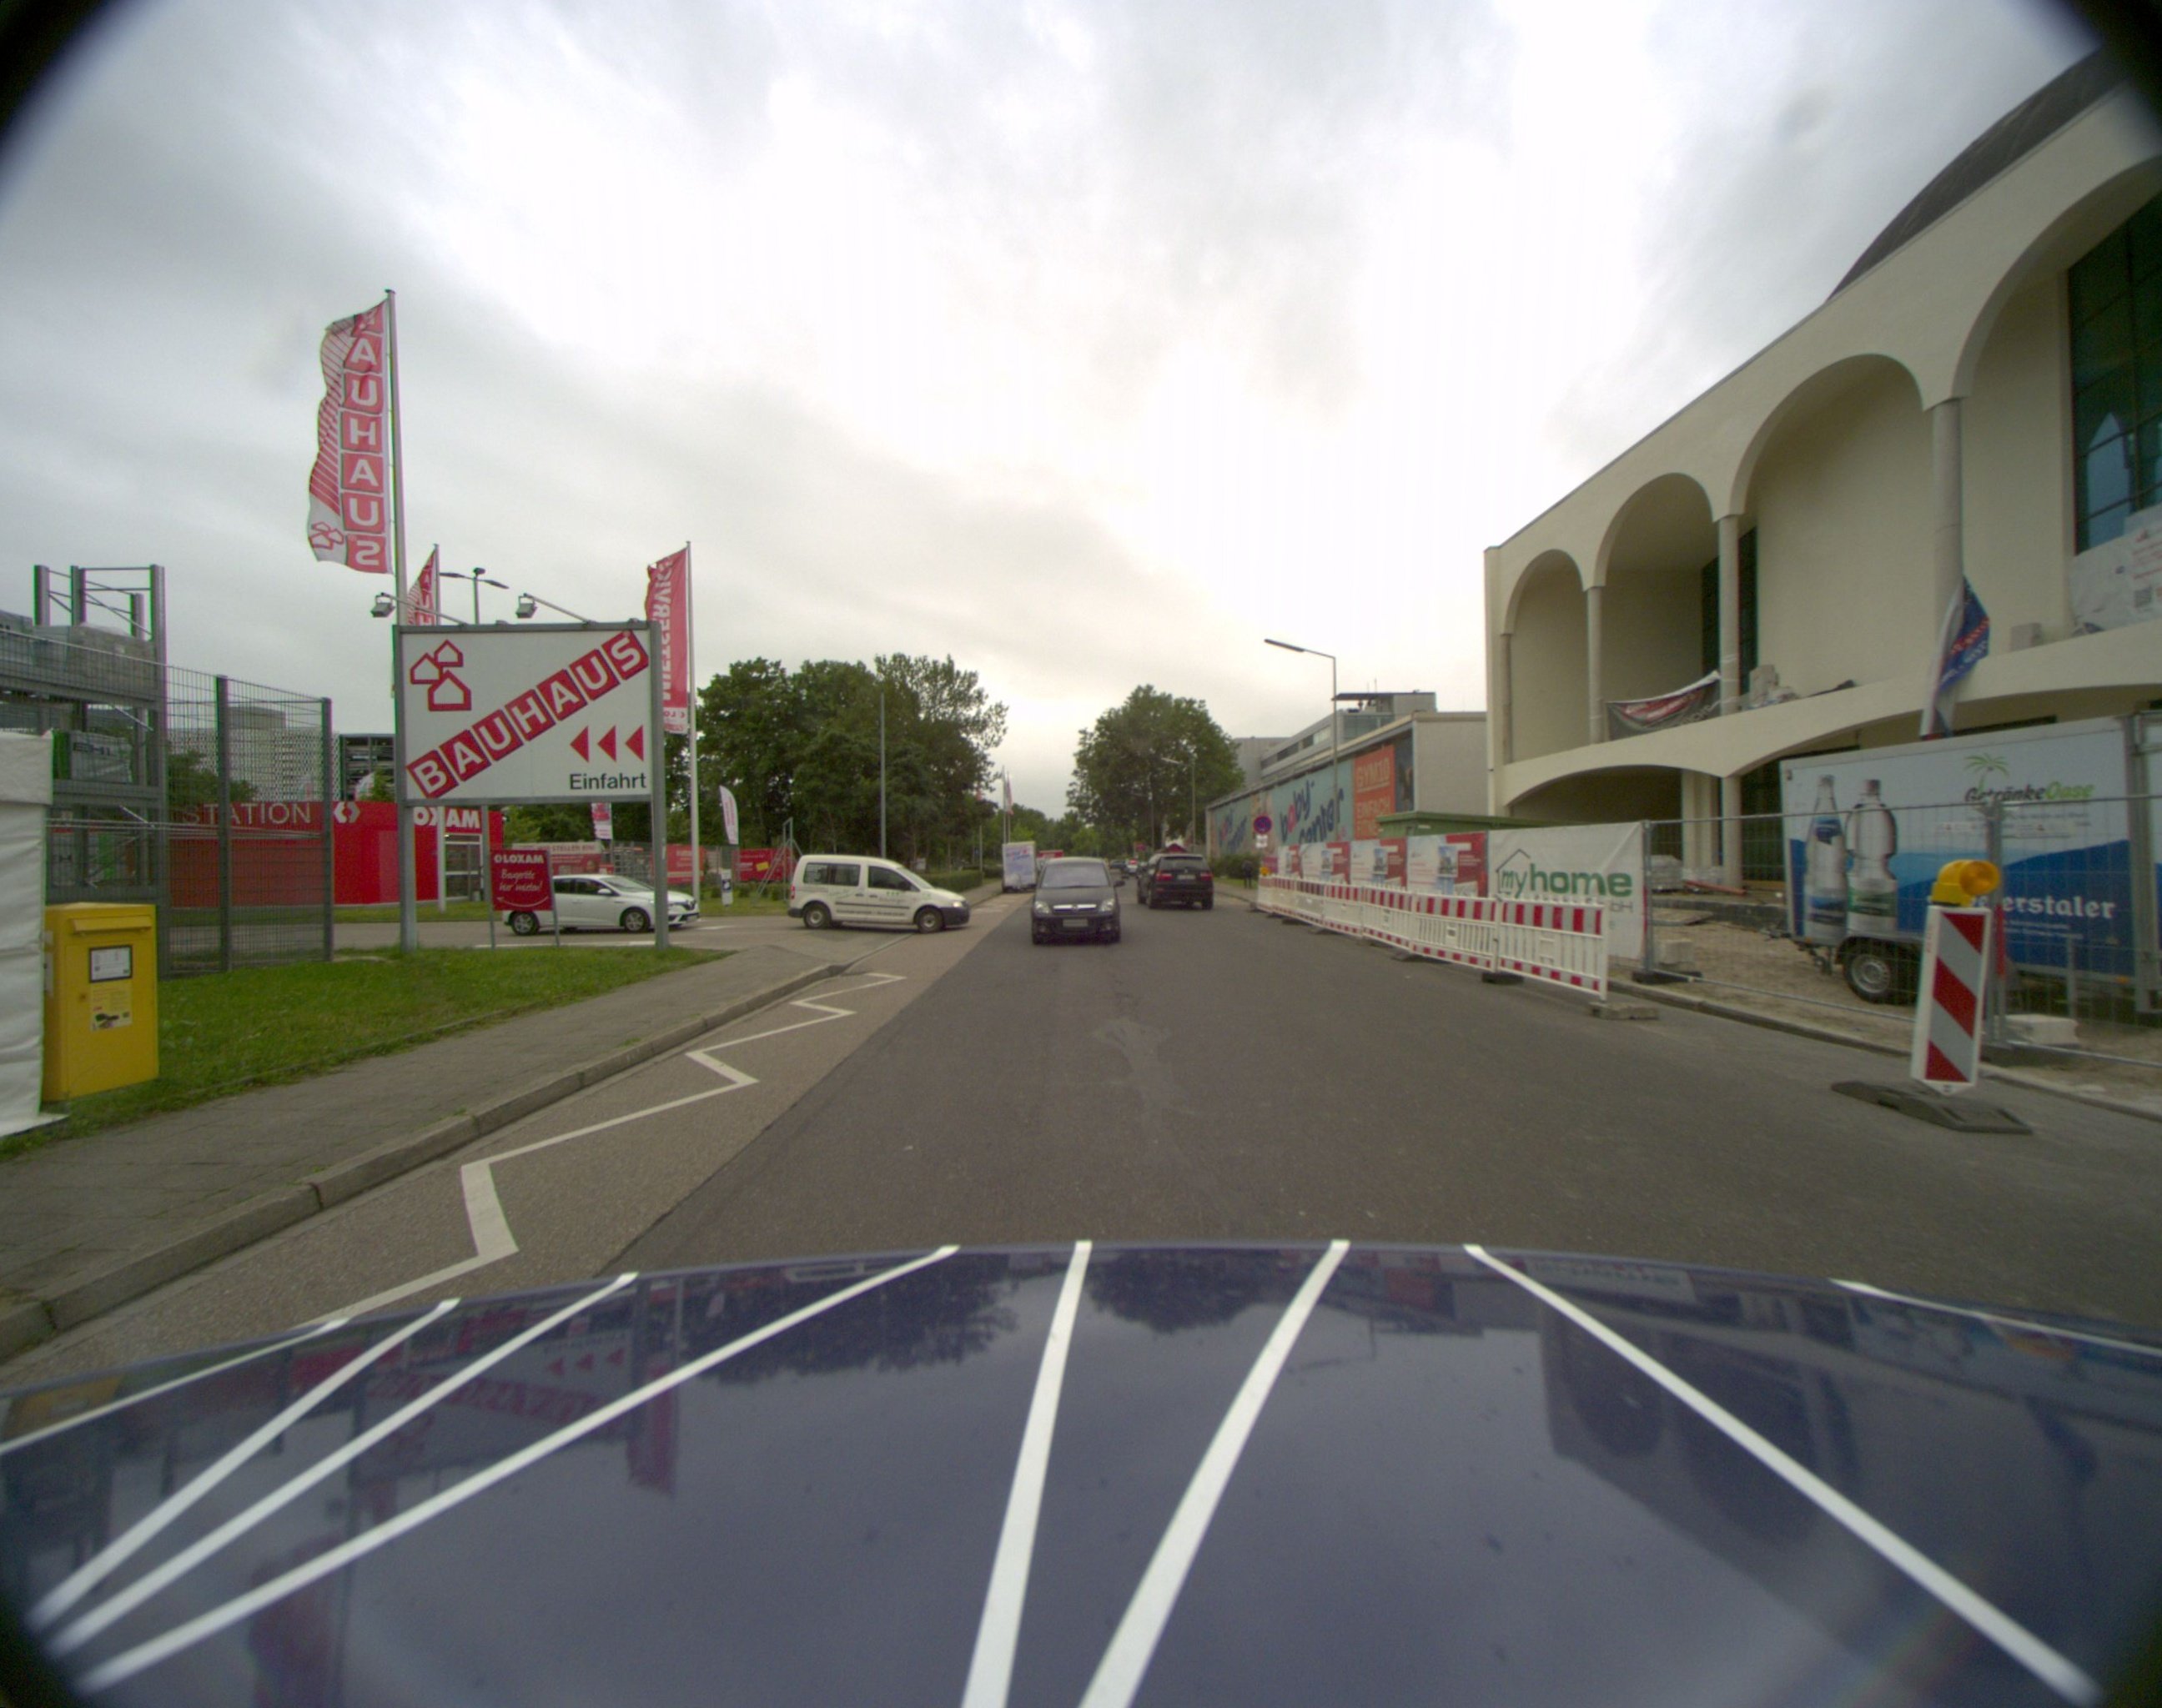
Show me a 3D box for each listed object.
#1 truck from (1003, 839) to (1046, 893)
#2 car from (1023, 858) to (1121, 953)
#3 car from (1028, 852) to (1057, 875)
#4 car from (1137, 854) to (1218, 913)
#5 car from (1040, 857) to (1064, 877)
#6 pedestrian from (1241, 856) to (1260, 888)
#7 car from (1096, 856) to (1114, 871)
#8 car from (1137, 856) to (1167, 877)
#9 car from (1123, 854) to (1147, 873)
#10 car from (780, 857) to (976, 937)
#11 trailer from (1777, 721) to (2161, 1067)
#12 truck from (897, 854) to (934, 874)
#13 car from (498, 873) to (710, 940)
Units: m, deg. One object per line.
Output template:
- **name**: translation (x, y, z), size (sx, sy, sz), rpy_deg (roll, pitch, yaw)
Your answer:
- **truck**: translation (-2.950, 0.606, 40.479), size (1.853, 2.597, 3.999), rpy_deg (-4, 0, -1)
- **car**: translation (-0.101, 0.922, 15.236), size (1.685, 1.622, 3.759), rpy_deg (-1, 0, 2)
- **car**: translation (-3.119, 0.755, 62.607), size (1.998, 1.805, 4.000), rpy_deg (-1, 0, 2)
- **car**: translation (2.961, 0.856, 24.373), size (1.964, 1.652, 4.653), rpy_deg (1, 0, 0)
- **car**: translation (-2.682, 1.199, 70.981), size (1.998, 1.739, 4.000), rpy_deg (-1, 0, 2)
- **pedestrian**: translation (8.403, 0.889, 37.638), size (0.793, 1.570, 0.602), rpy_deg (-2, 1, 7)
- **car**: translation (2.758, 1.080, 87.692), size (1.929, 1.565, 4.000), rpy_deg (0, 0, 1)
- **car**: translation (5.474, 0.946, 59.271), size (1.929, 1.565, 4.149), rpy_deg (2, 0, 1)
- **car**: translation (4.948, 0.858, 69.968), size (1.929, 1.565, 4.149), rpy_deg (2, 0, 1)
- **car**: translation (-4.916, 1.025, 18.871), size (4.381, 1.797, 1.800), rpy_deg (1, 0, -2)
- **trailer**: translation (8.956, 0.294, 7.244), size (1.802, 2.591, 3.192), rpy_deg (-1, 0, 3)
- **truck**: translation (-20.147, 1.170, 92.520), size (1.994, 2.382, 4.008), rpy_deg (-1, 0, 40)
- **car**: translation (-11.674, 1.270, 18.781), size (4.112, 1.412, 1.731), rpy_deg (-2, 0, 1)
